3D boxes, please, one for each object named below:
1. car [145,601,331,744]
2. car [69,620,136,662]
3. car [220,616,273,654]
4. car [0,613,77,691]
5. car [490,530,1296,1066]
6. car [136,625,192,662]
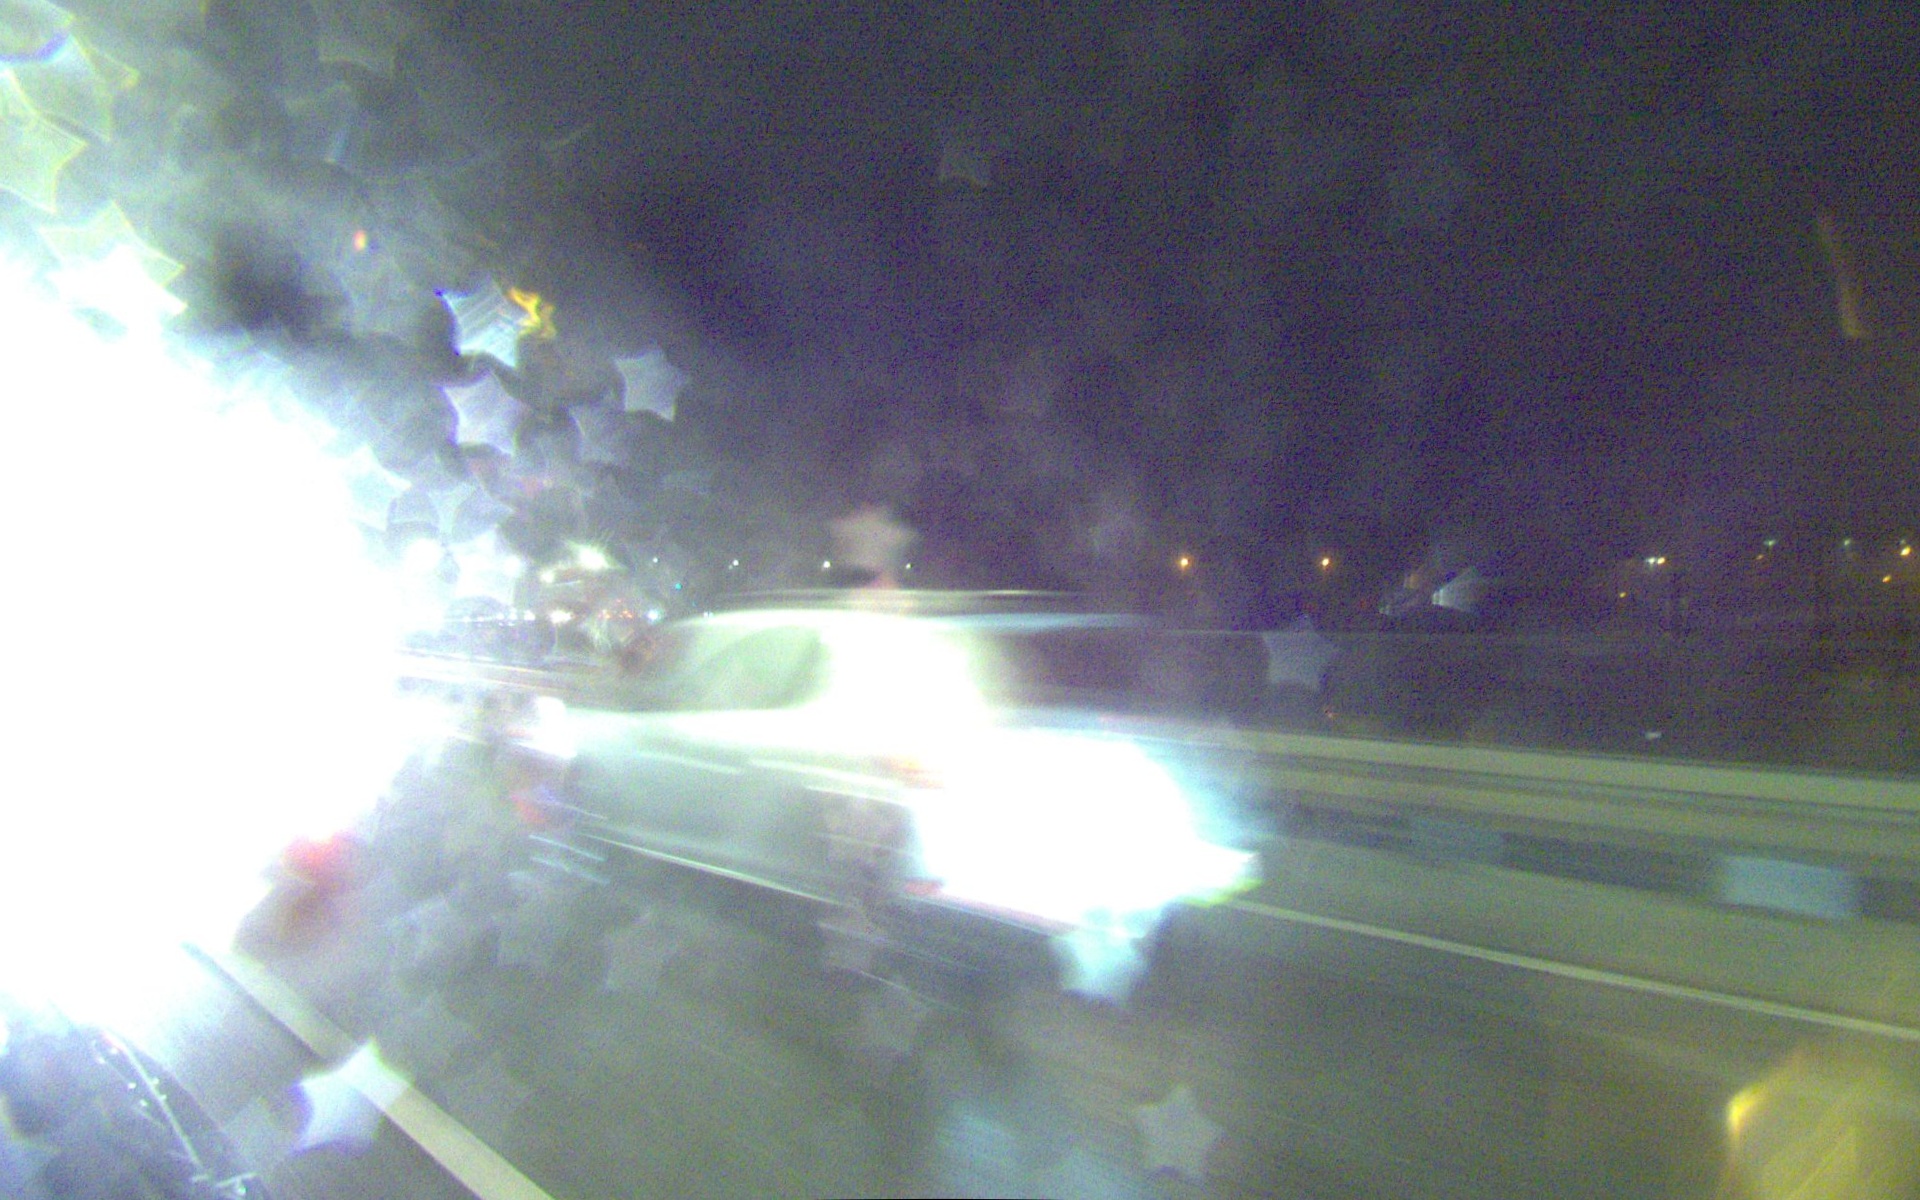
[{"bbox_3d":[-10.372,0.920,14.410,1.756,1.717,4.320,1,-2,-41],"label":"car"},{"bbox_3d":[-32.853,1.572,38.852,1.498,1.537,3.116,0,-2,-32],"label":"car"},{"bbox_3d":[-44.945,2.253,63.805,1.628,2.028,4.012,-8,-1,-22],"label":"car"},{"bbox_3d":[-26.102,1.456,28.114,1.967,2.029,4.009,2,-4,-36],"label":"car"},{"bbox_3d":[-0.606,0.645,5.113,3.991,1.643,1.773,-2,-1,42],"label":"car"},{"bbox_3d":[-38.584,2.068,49.123,1.284,1.539,3.056,-9,3,-25],"label":"car"}]
